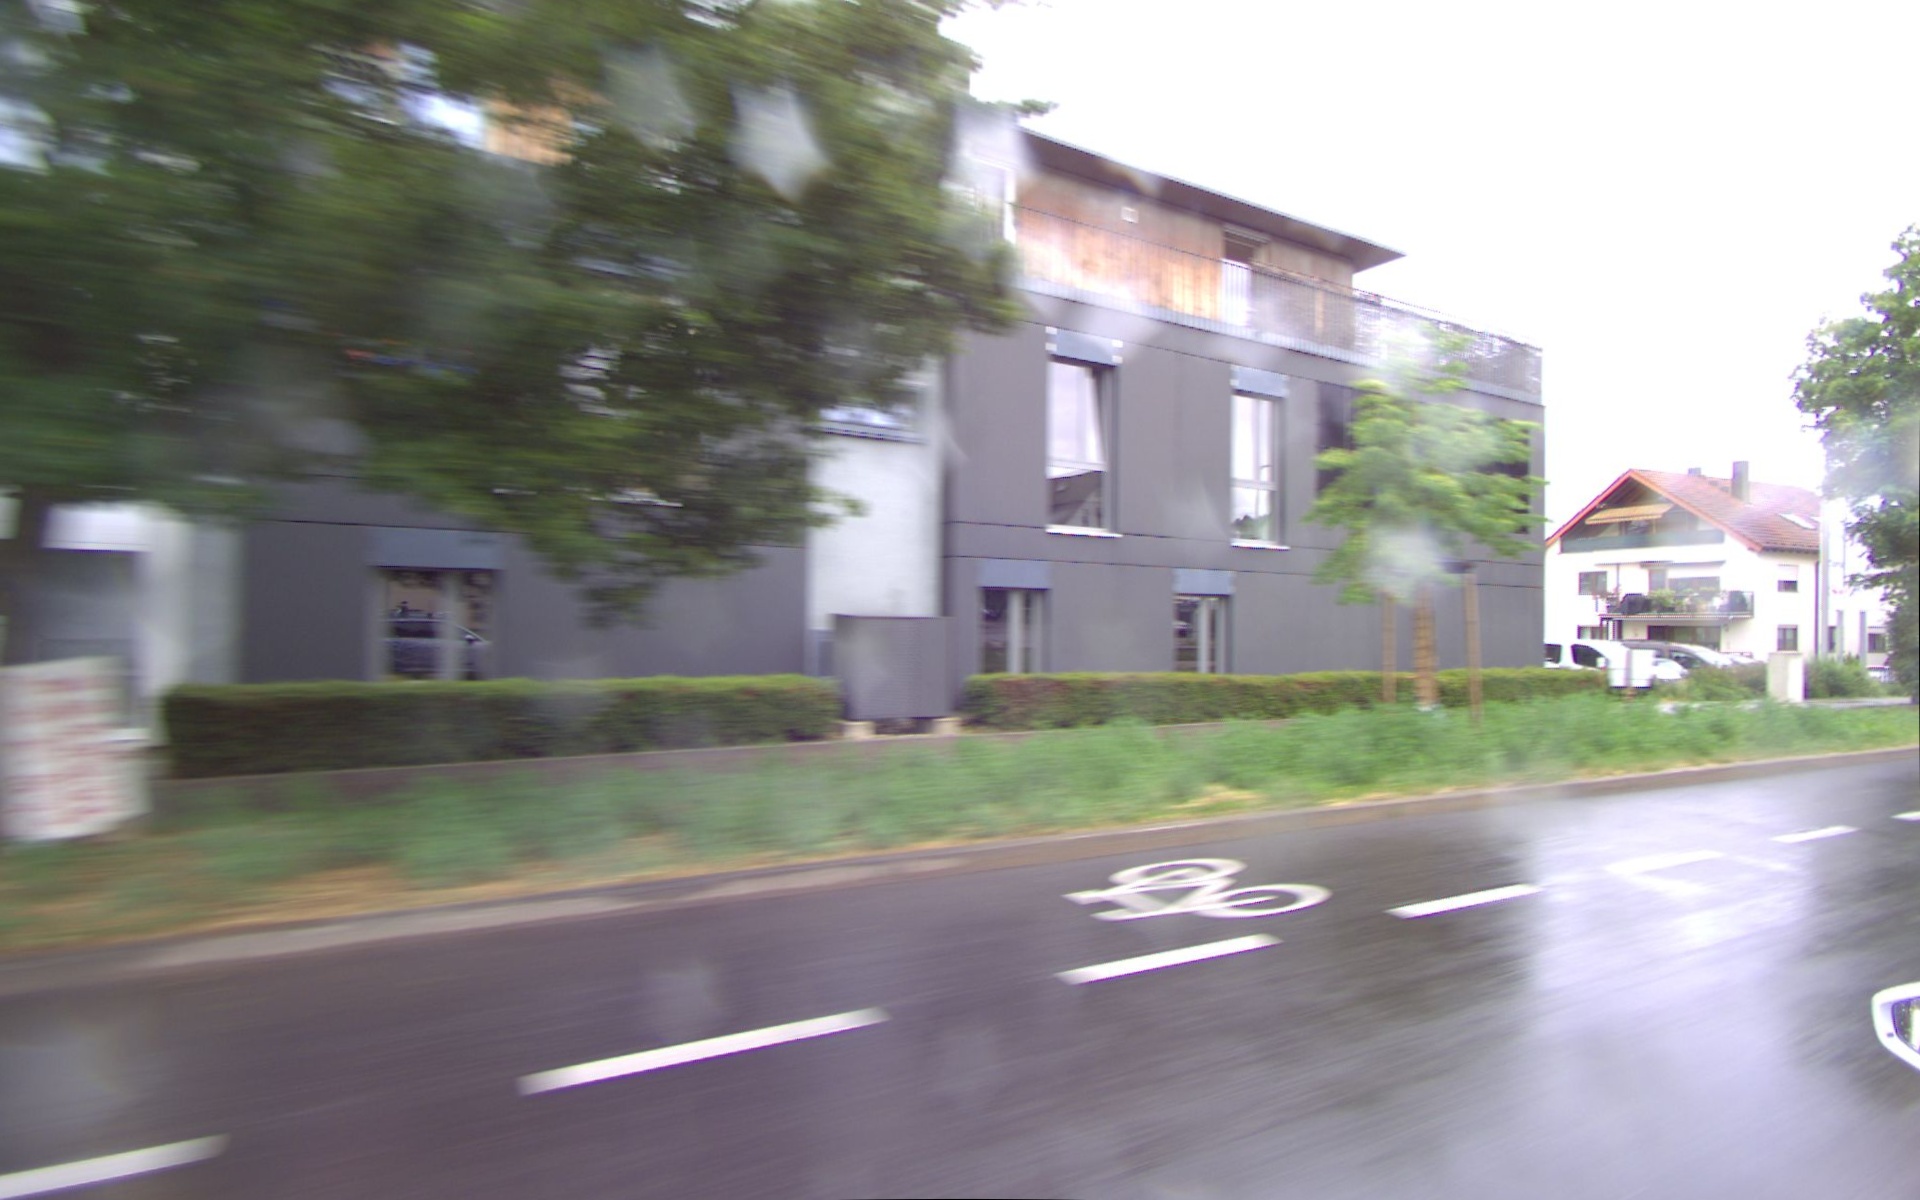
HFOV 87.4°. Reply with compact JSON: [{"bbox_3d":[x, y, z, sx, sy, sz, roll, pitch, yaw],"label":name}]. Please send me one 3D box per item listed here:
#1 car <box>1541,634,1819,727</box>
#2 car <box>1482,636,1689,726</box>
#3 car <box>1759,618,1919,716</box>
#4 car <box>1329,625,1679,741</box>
[{"bbox_3d":[10.149,1.092,14.333,1.453,1.174,2.896,2,-3,-29],"label":"car"},{"bbox_3d":[17.152,2.122,27.765,2.129,2.041,4.374,0,1,-31],"label":"car"},{"bbox_3d":[14.680,1.061,15.934,1.238,1.474,2.896,4,-4,-29],"label":"car"},{"bbox_3d":[7.005,1.021,13.368,1.563,1.301,3.884,2,-3,-29],"label":"car"}]
